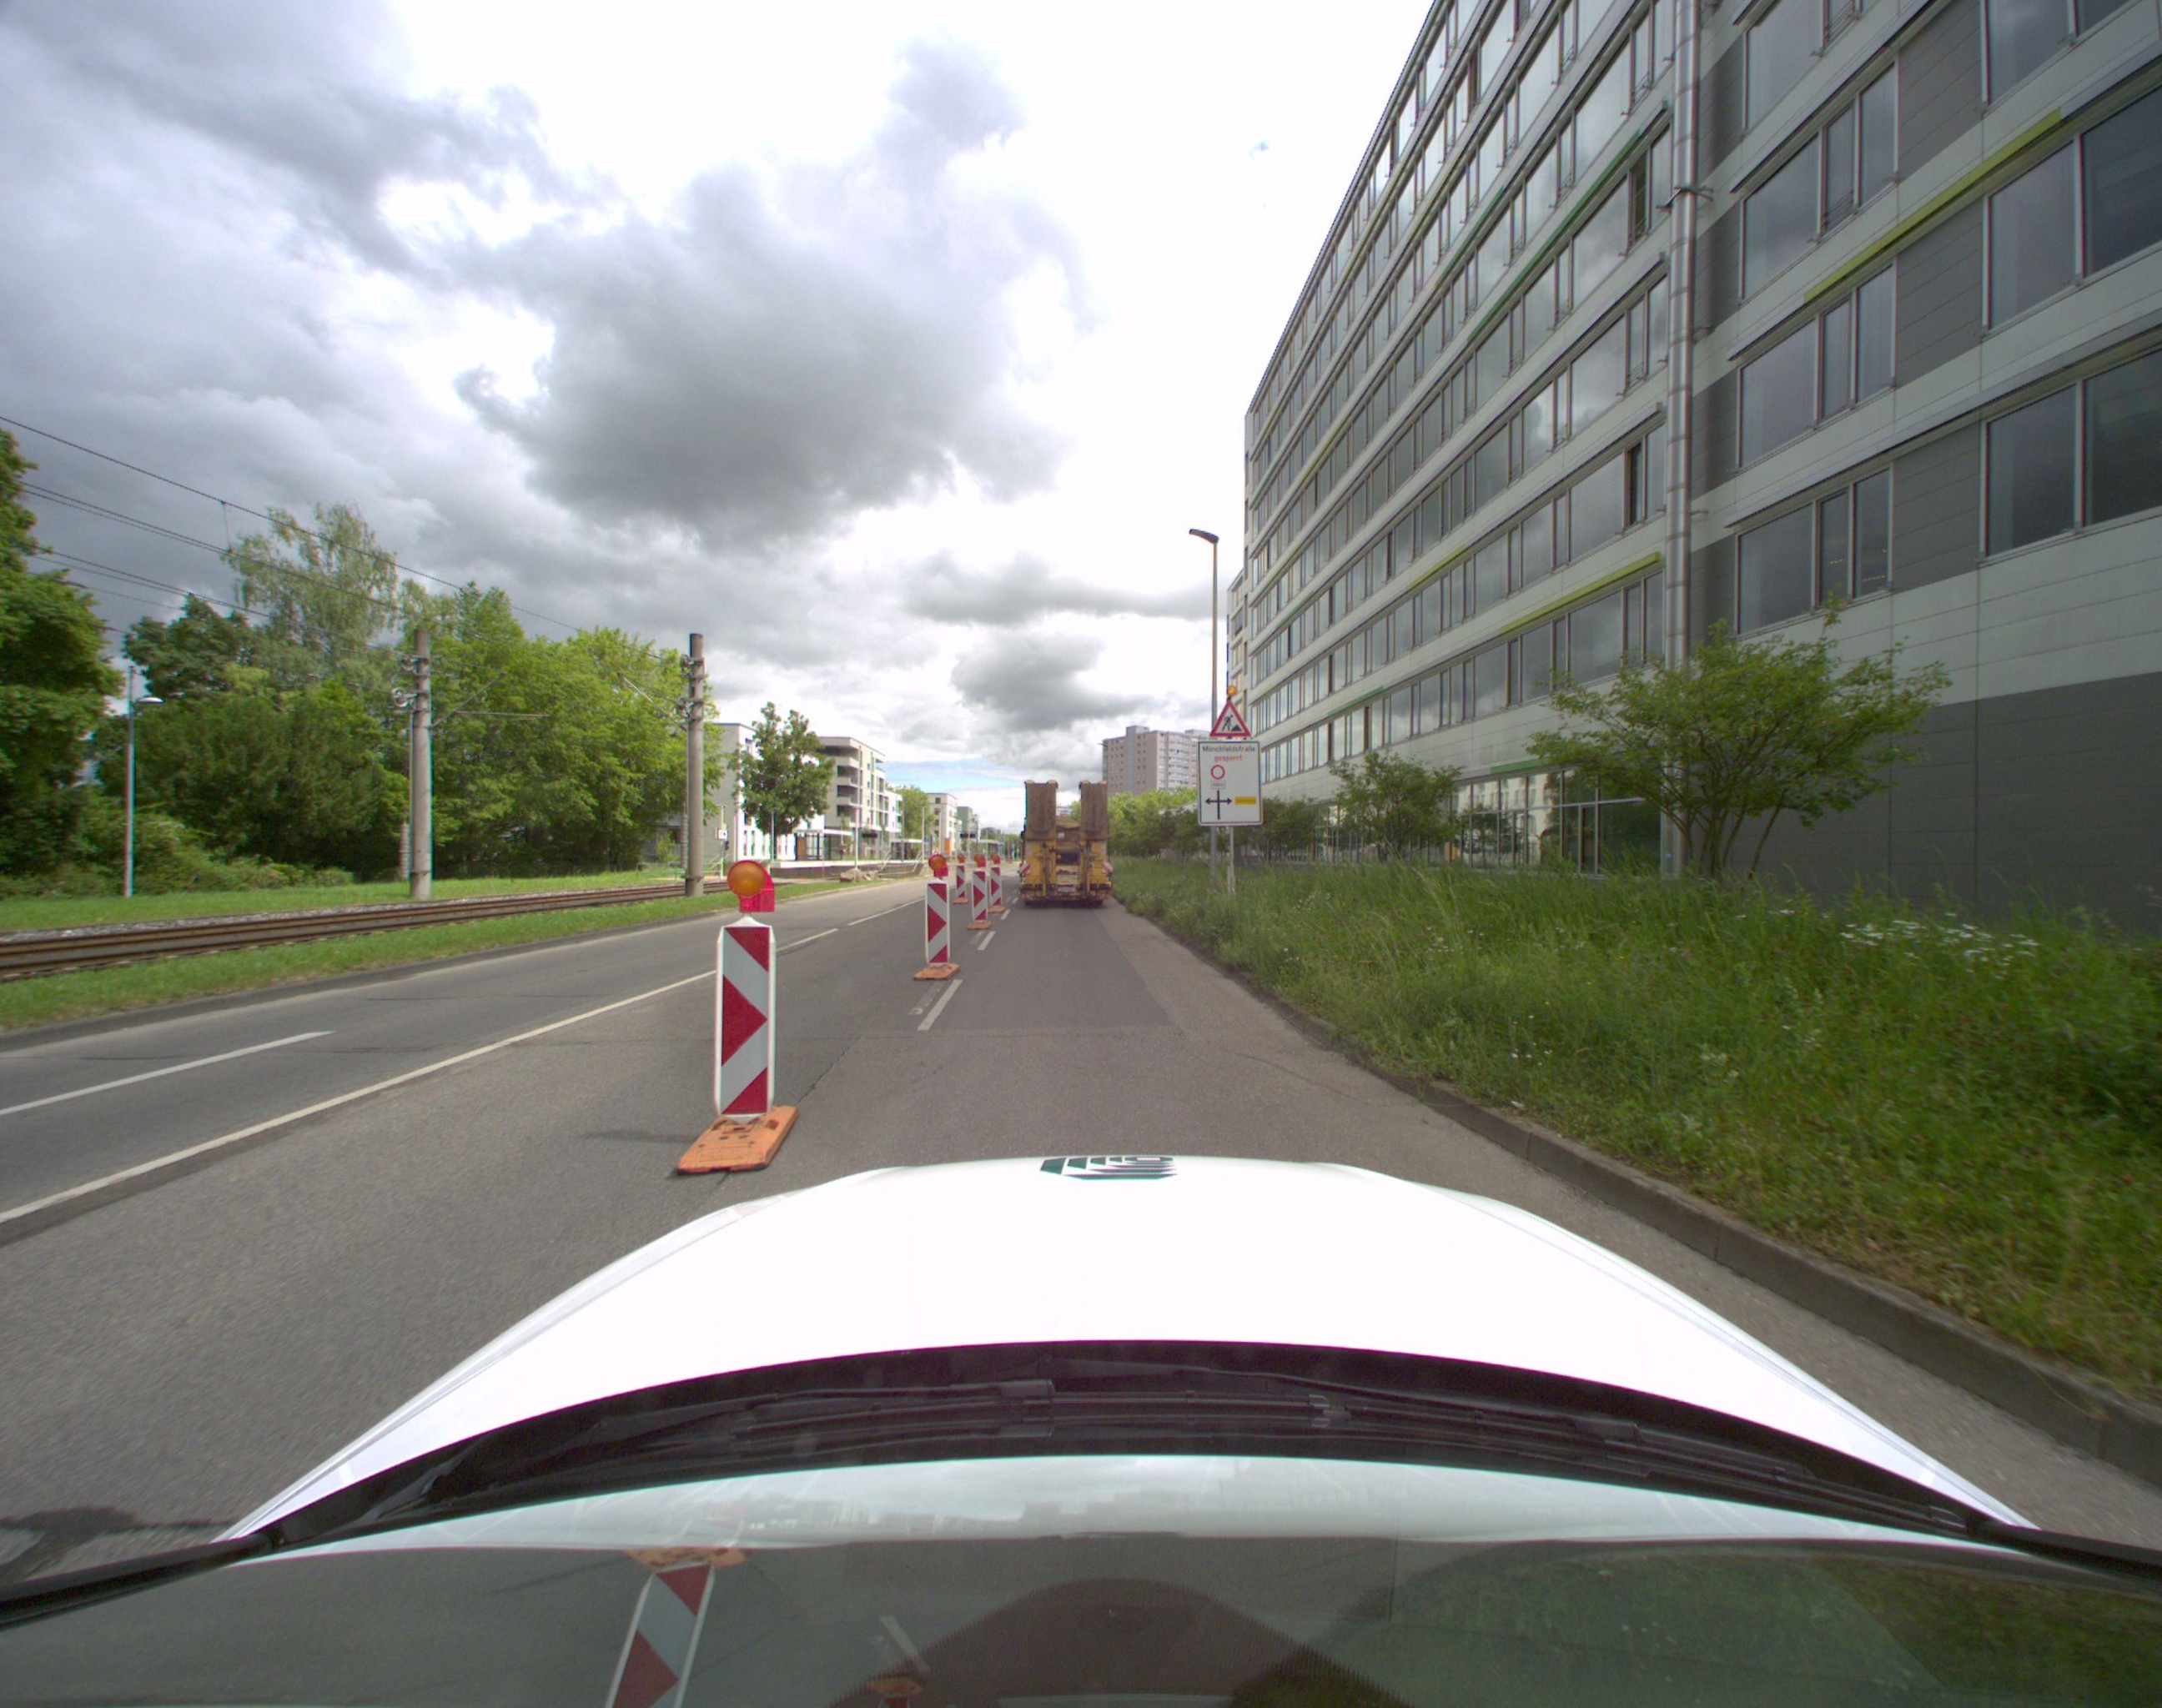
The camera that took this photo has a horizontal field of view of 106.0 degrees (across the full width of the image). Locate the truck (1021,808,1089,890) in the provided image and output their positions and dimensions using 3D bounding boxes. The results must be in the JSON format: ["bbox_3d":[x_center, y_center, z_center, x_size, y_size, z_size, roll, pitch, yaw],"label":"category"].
[{"bbox_3d":[-1.163,-0.186,37.192,2.746,3.313,8.346,0,0,-1],"label":"truck"}]

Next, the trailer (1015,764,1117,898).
[{"bbox_3d":[-0.698,-0.583,27.385,2.723,3.559,11.239,0,0,-3],"label":"trailer"}]

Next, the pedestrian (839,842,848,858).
[{"bbox_3d":[-22.751,-0.349,77.882,0.741,1.531,0.545,0,-1,-10],"label":"pedestrian"}]

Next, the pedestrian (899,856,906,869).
[{"bbox_3d":[-22.876,1.064,104.300,0.482,1.597,0.682,0,-1,33],"label":"pedestrian"}]
